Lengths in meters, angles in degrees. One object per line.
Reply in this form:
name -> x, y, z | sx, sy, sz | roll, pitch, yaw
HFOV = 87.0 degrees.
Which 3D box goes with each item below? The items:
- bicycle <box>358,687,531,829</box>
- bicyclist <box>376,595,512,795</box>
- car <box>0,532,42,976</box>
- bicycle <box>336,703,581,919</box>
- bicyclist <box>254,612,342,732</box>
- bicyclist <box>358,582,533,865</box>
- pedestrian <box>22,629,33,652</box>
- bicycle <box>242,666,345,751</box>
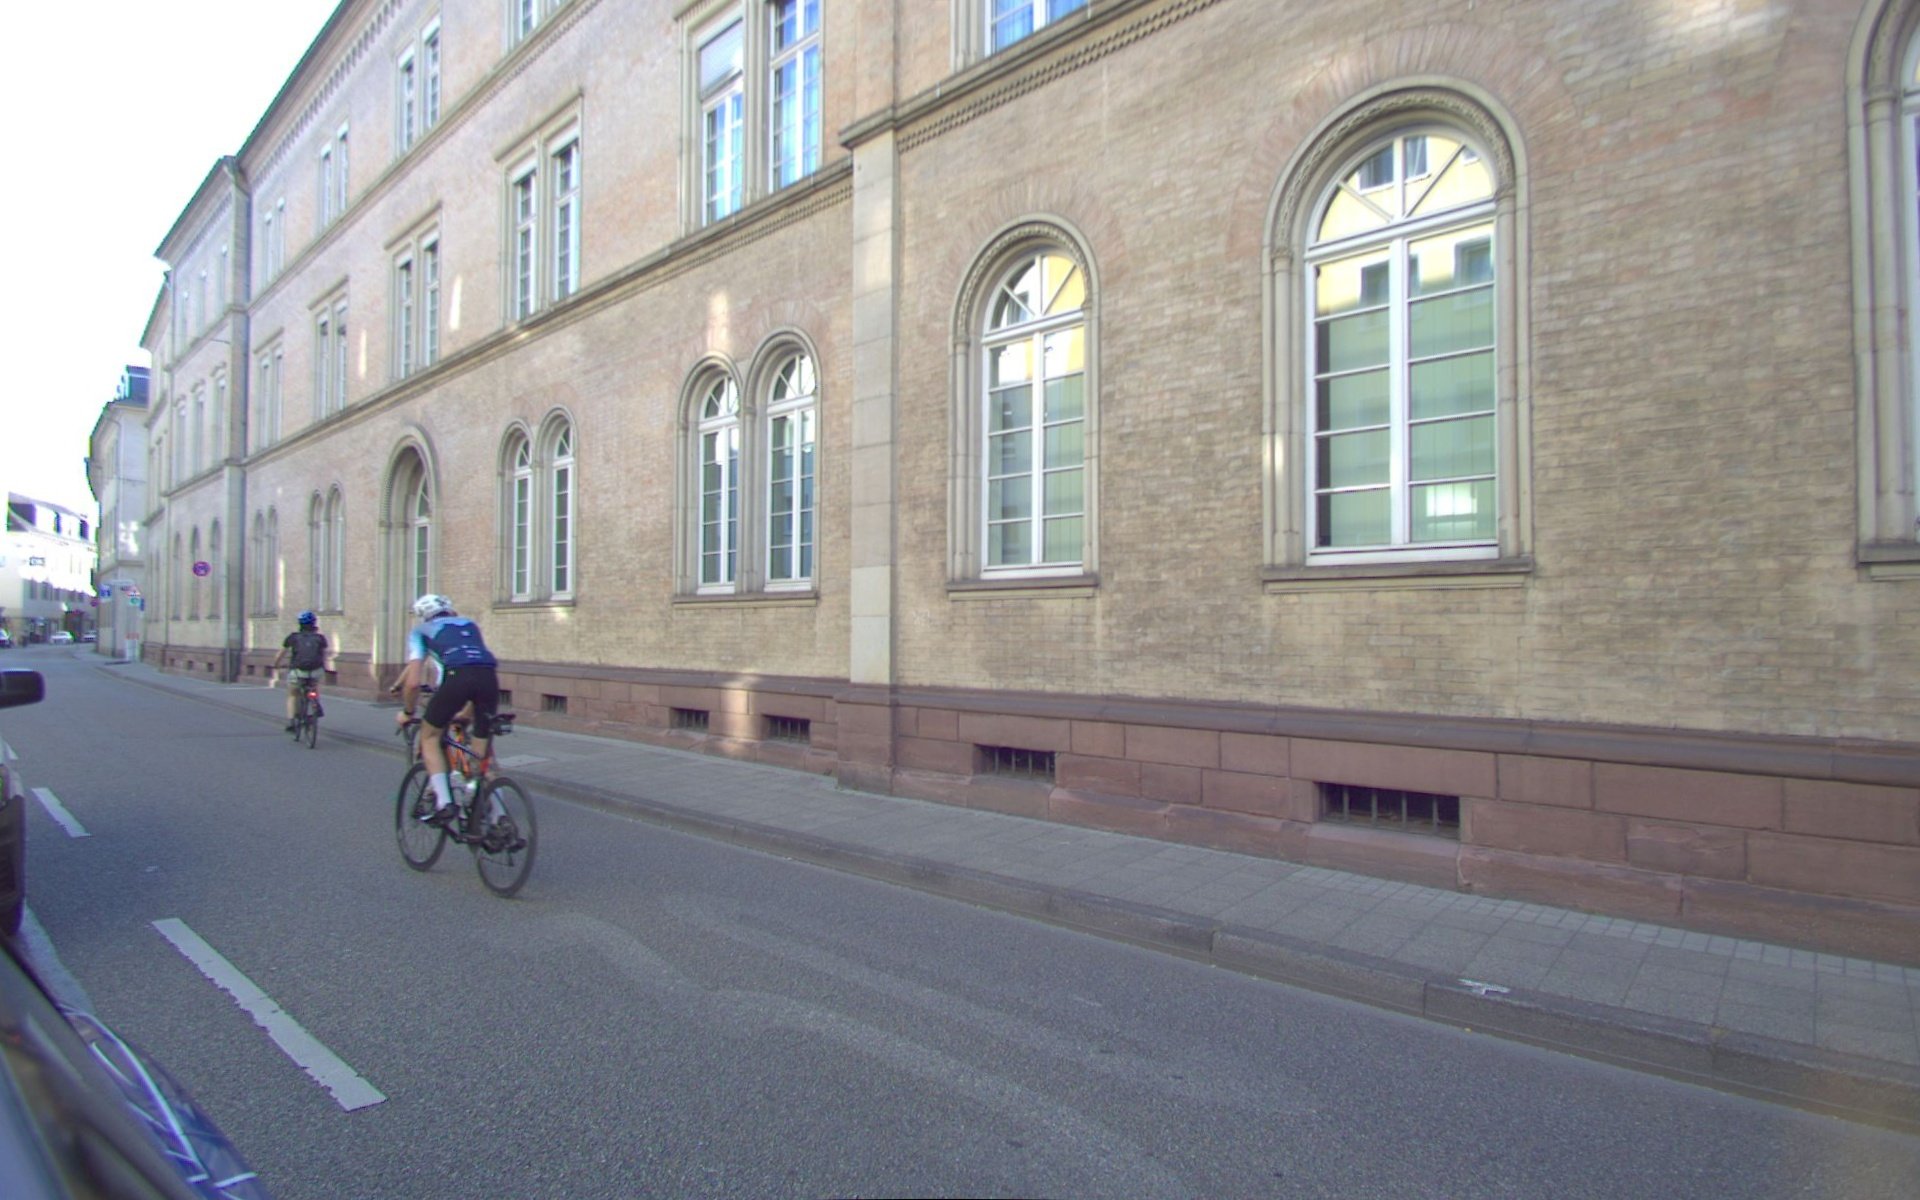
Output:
bicycle -> -4.382, 1.272, 8.548 | 1.806, 1.014, 0.643 | -2, -5, 42
bicyclist -> -4.373, 0.778, 8.569 | 0.960, 1.579, 0.643 | -2, -5, 42
car -> -6.523, 0.686, 5.394 | 5.338, 1.850, 1.795 | -2, -3, 41
bicycle -> -2.982, 1.153, 5.944 | 1.754, 1.014, 0.540 | -1, -5, 38
bicyclist -> -8.806, 0.947, 13.453 | 1.111, 1.520, 0.643 | -2, -5, 42
bicyclist -> -3.066, 0.697, 6.035 | 0.868, 1.545, 0.540 | -2, -5, 38
pedestrian -> -81.643, 3.520, 88.590 | 0.635, 1.964, 0.779 | 1, -3, -40
bicycle -> -8.902, 1.415, 13.489 | 1.875, 1.014, 0.643 | -2, -5, 42
